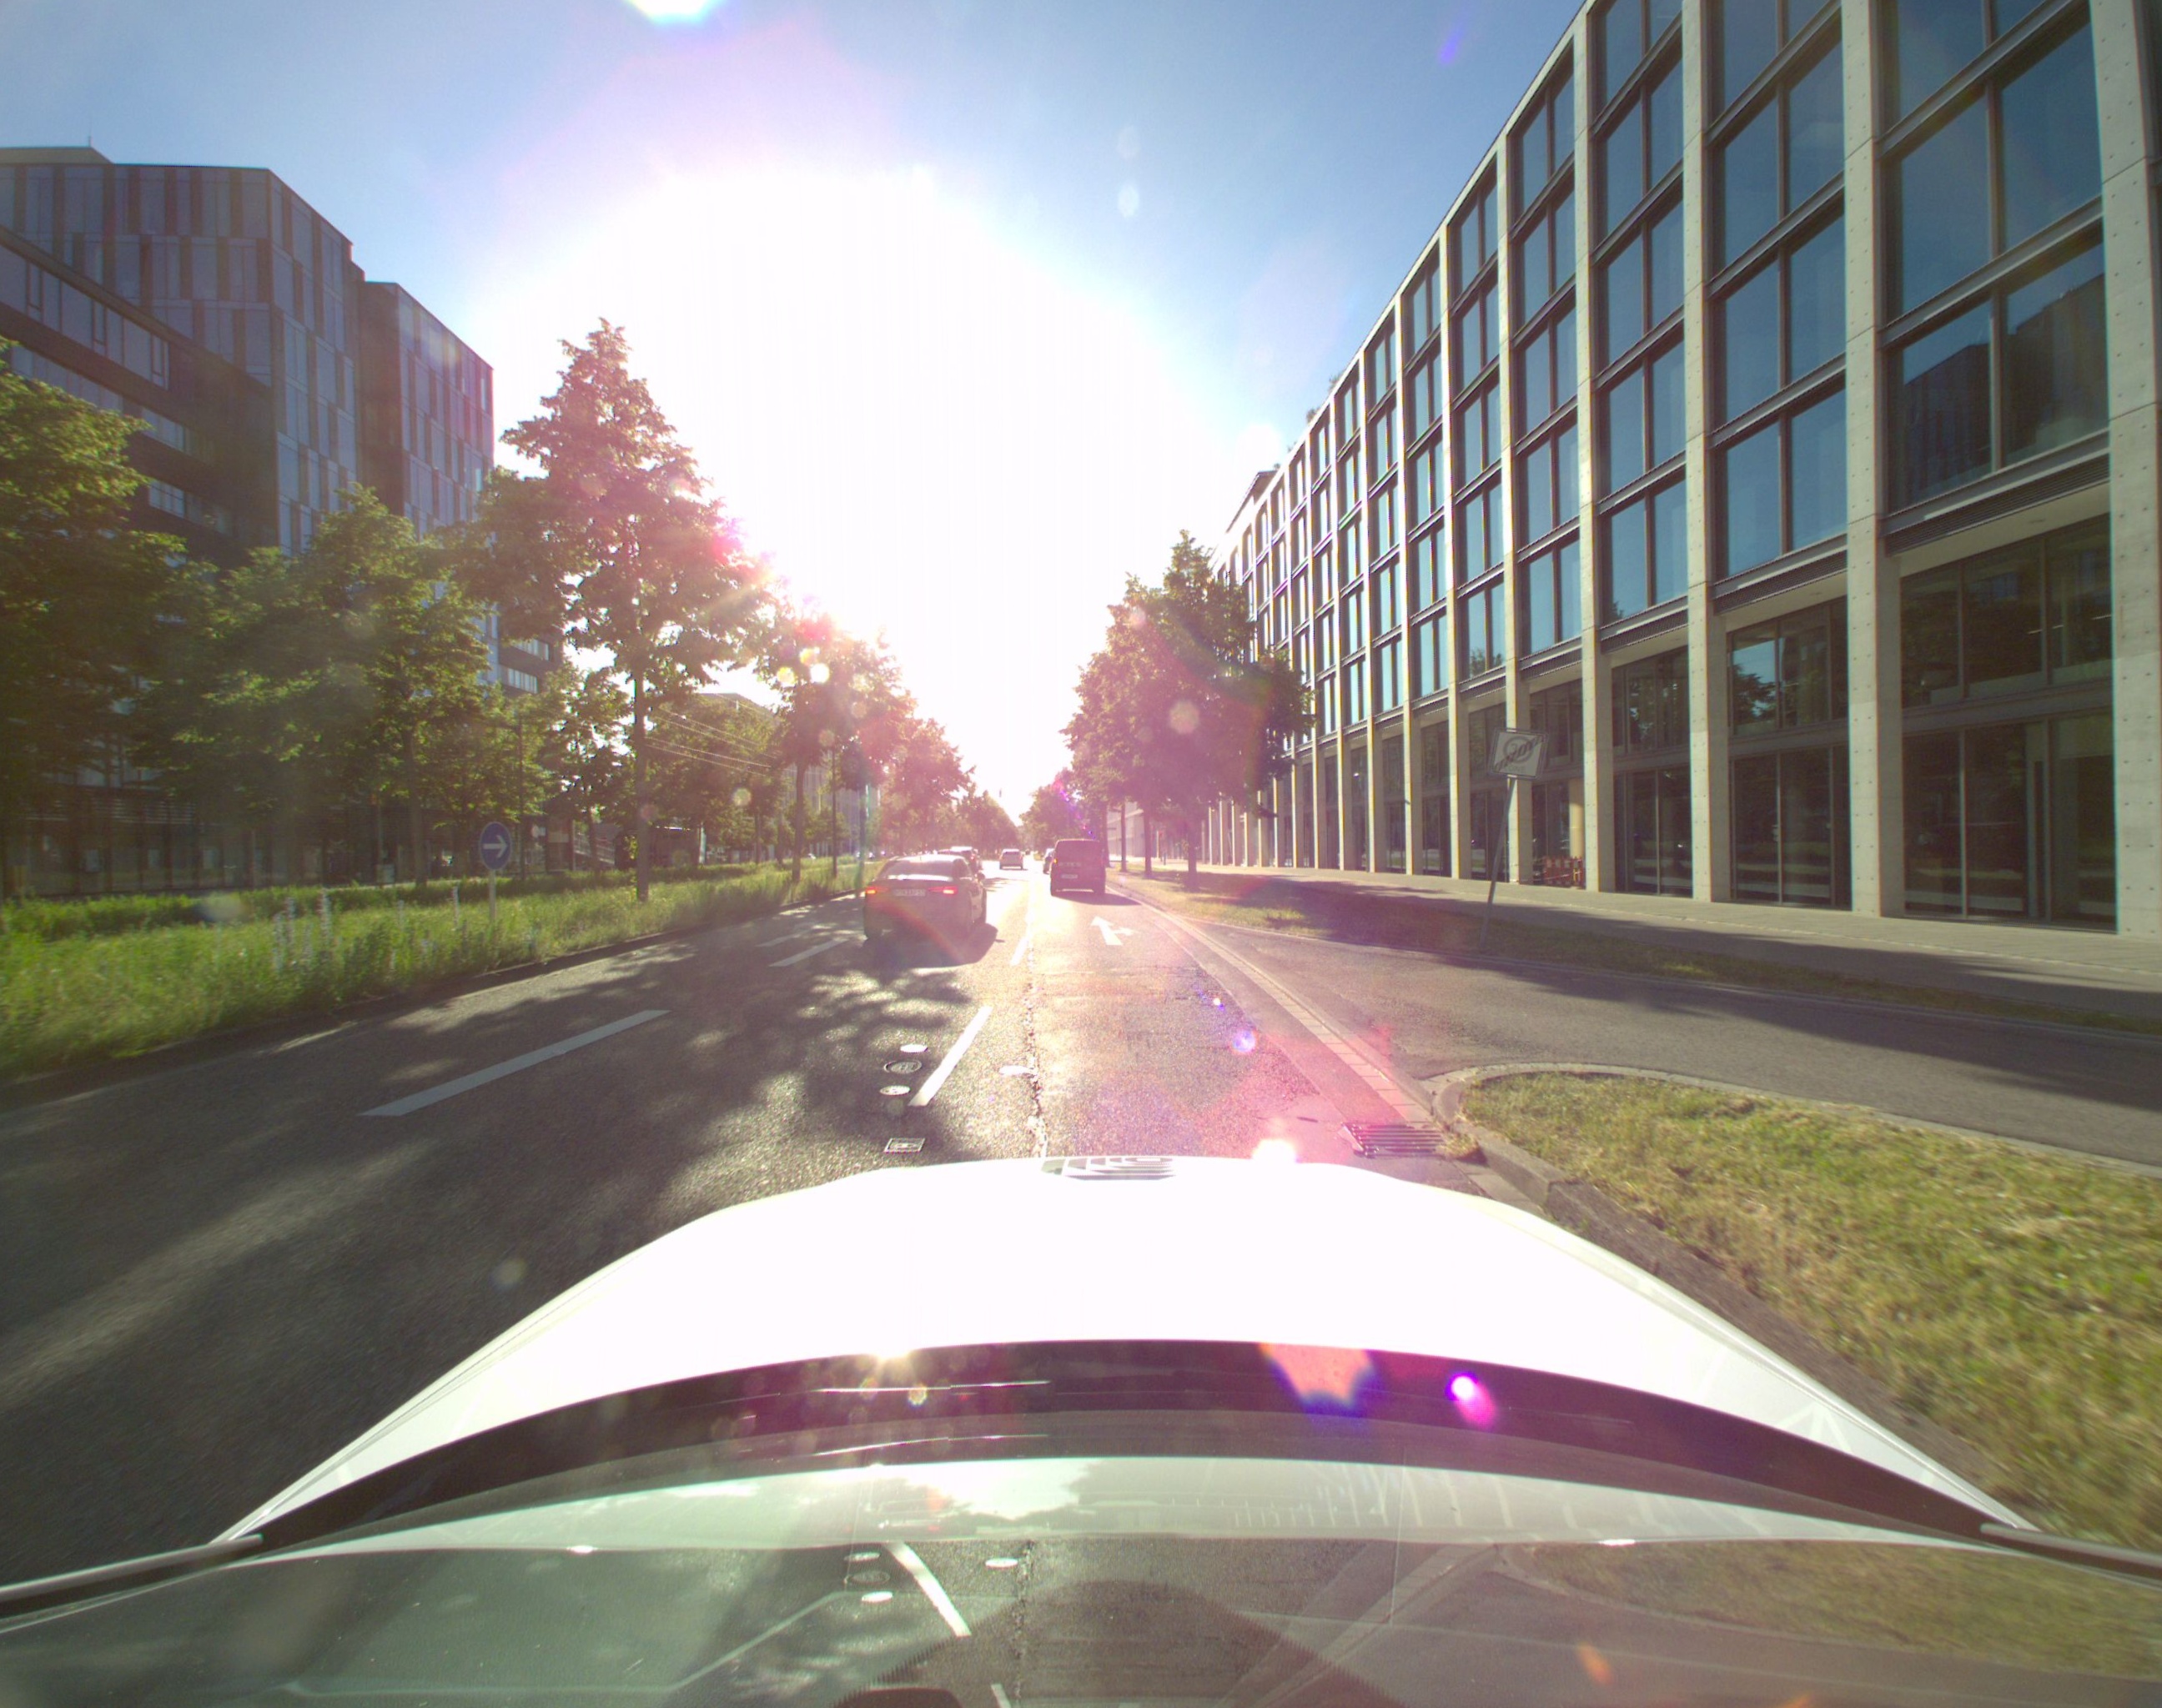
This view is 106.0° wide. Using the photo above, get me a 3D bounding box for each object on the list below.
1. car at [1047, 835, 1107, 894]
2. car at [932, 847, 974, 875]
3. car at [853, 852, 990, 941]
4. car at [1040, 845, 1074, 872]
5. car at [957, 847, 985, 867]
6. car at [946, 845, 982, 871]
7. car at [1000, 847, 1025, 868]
[{"bbox_3d":[-0.215,0.368,27.254,1.793,1.777,3.995,-2,-1,-3],"label":"car"},{"bbox_3d":[-6.899,0.341,44.194,1.939,1.441,3.993,-1,1,-5],"label":"car"},{"bbox_3d":[-2.735,0.660,14.838,1.716,1.366,4.144,0,1,-1],"label":"car"},{"bbox_3d":[-1.450,0.233,48.157,1.719,1.425,3.809,1,2,-6],"label":"car"},{"bbox_3d":[-8.091,0.220,60.060,1.711,1.398,3.996,-1,1,-3],"label":"car"},{"bbox_3d":[-7.391,0.212,51.850,1.838,1.534,3.937,-1,1,-2],"label":"car"},{"bbox_3d":[-4.994,0.220,59.398,1.717,1.425,3.811,-1,1,-4],"label":"car"}]
